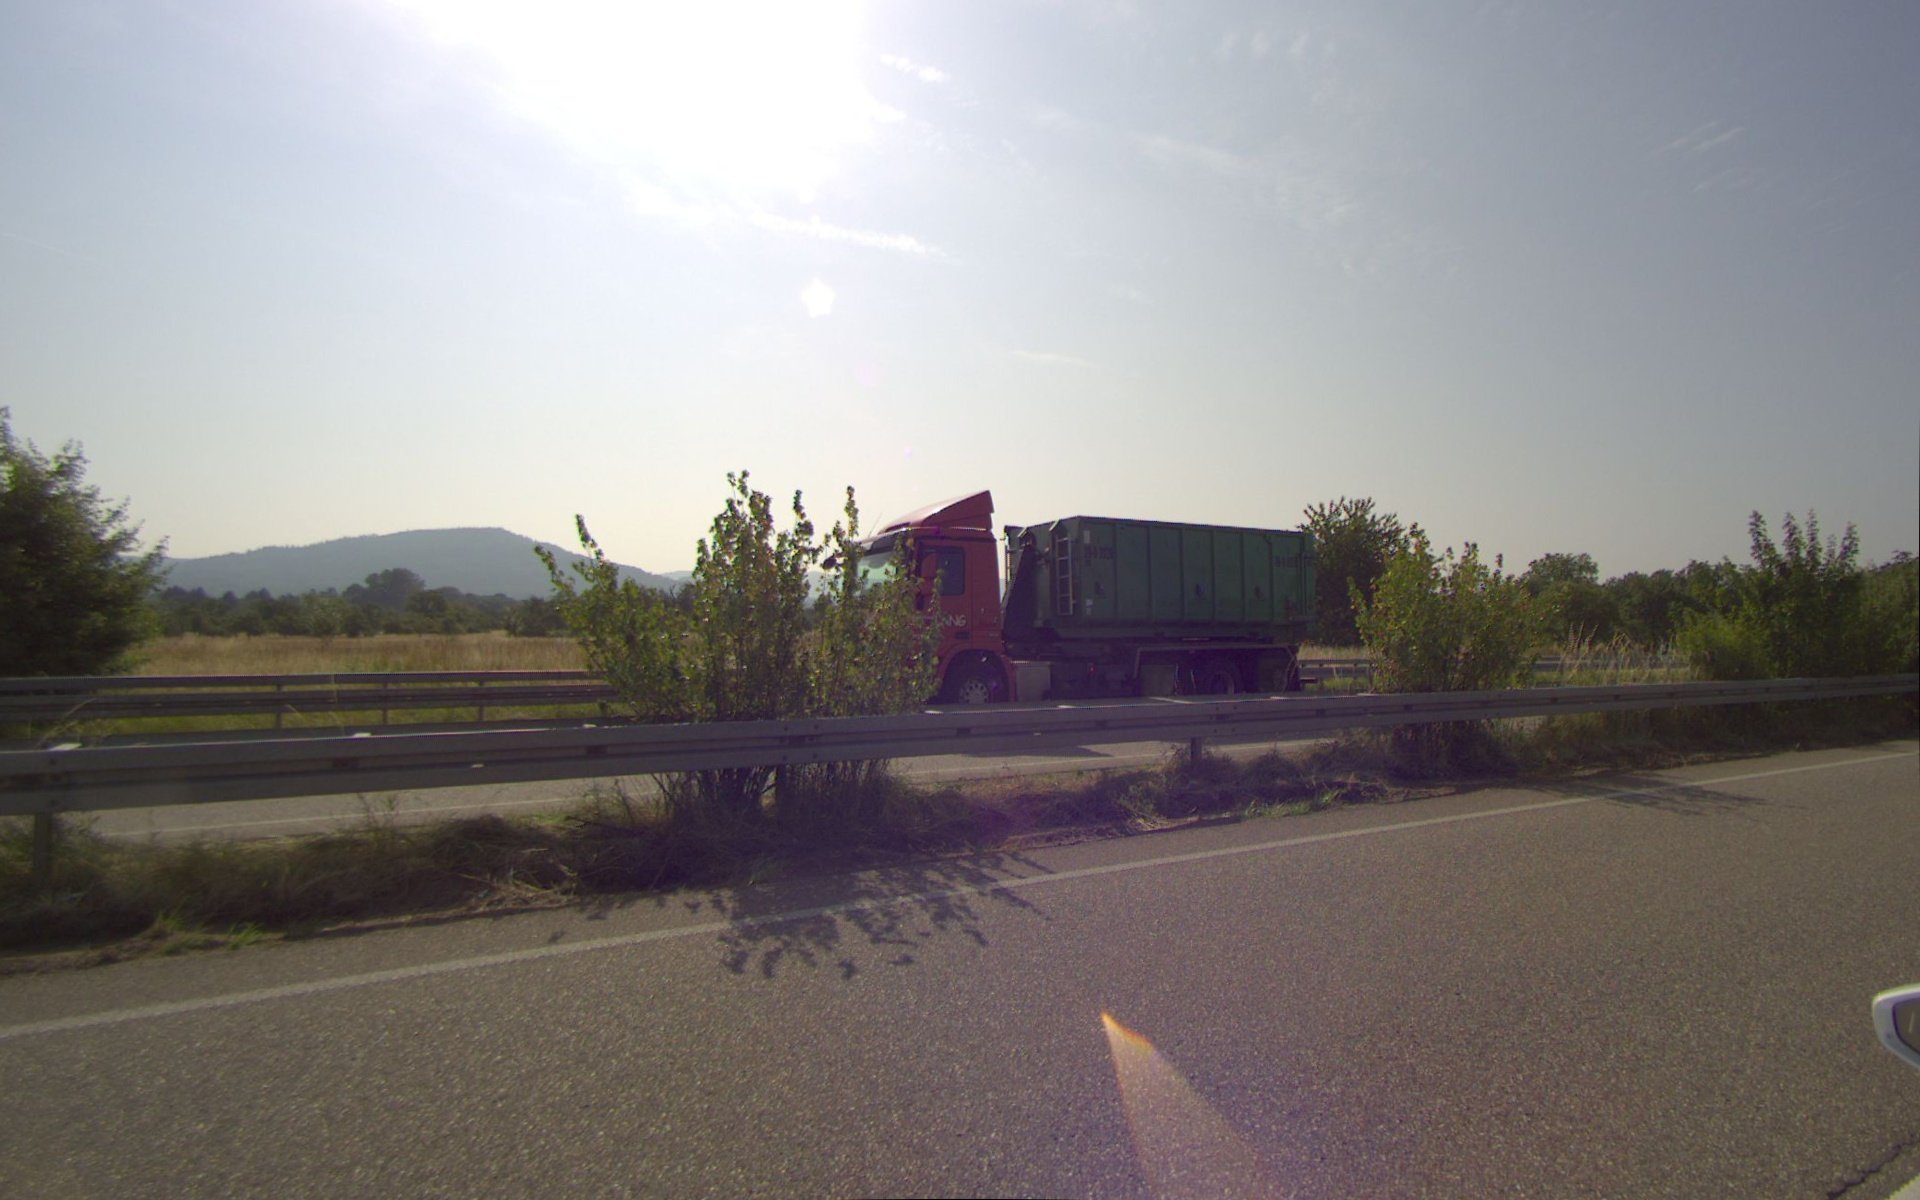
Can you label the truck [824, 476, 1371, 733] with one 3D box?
[{"bbox_3d":[2.852,0.196,17.901,10.264,3.636,2.590,2,-1,-30],"label":"truck"}]
